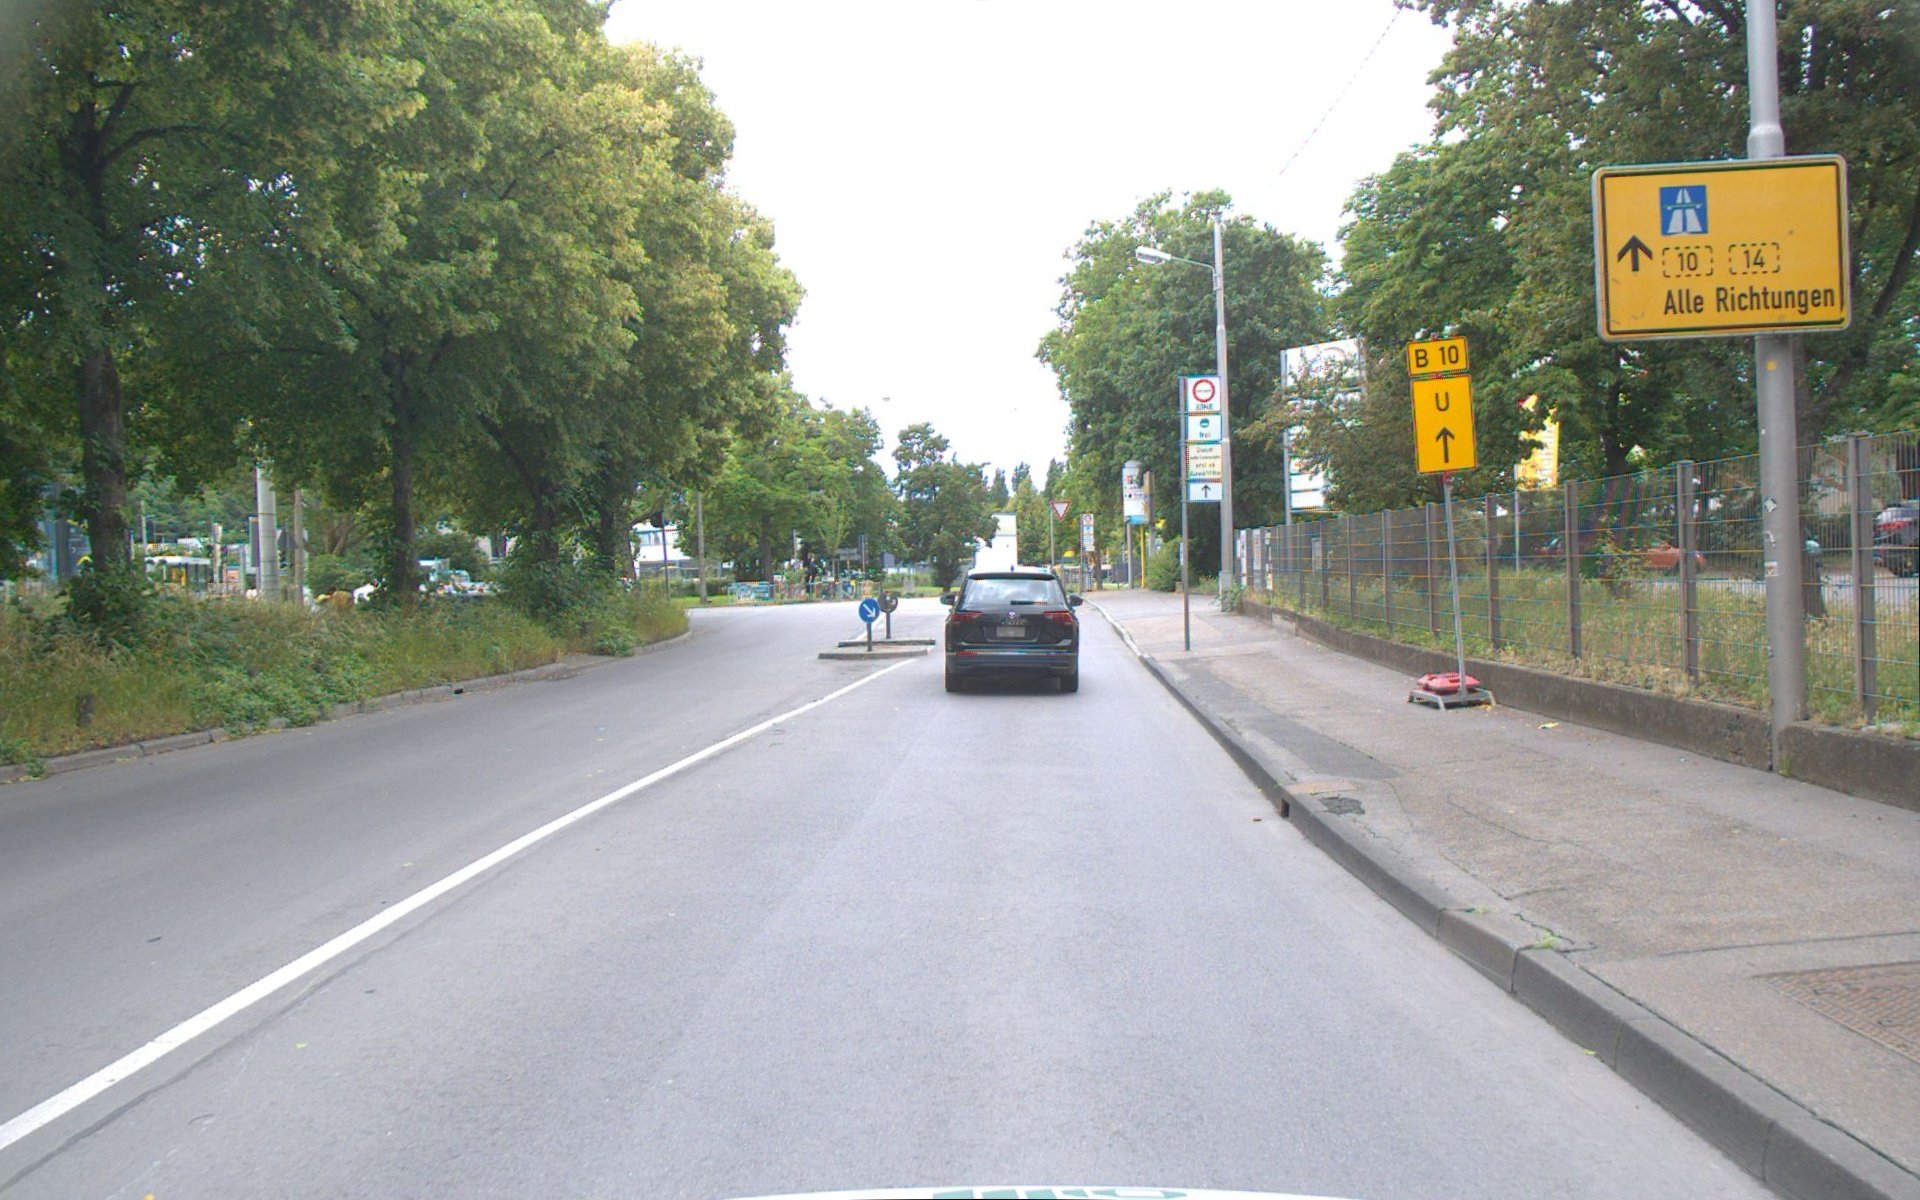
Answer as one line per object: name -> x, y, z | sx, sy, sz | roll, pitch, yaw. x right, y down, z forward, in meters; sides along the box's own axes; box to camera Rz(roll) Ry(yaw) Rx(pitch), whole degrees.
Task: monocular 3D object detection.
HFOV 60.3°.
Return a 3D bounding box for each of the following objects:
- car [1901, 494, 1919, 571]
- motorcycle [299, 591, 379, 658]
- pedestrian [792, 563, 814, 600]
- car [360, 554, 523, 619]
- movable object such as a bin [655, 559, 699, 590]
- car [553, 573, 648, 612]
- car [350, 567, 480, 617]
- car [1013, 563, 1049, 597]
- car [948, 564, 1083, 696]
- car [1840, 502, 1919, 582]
car -> 21.361, -1.438, 33.439 | 3.622, 1.561, 1.832 | -2, 1, 7
motorcycle -> -11.940, 0.454, 31.870 | 0.553, 1.188, 2.037 | -2, 1, 5
pedestrian -> -7.691, -0.889, 81.155 | 0.731, 1.772, 0.723 | -1, 2, 43
car -> -21.405, -0.573, 68.508 | 5.951, 2.429, 2.393 | -2, 1, -4
movable object such as a bin -> -19.756, -1.763, 115.520 | 1.953, 2.048, 2.399 | -2, 1, 23
car -> -15.029, -0.320, 69.129 | 3.561, 1.434, 1.727 | -3, 1, -26
car -> -23.697, -0.362, 72.034 | 4.872, 1.975, 2.050 | -2, 1, 7
car -> 3.624, -1.035, 84.180 | 1.624, 1.601, 3.831 | -3, 1, 5
car -> 0.709, 0.345, 22.790 | 1.703, 1.646, 3.642 | 0, 1, 0
car -> 21.741, -1.327, 36.511 | 3.622, 1.703, 1.860 | -2, 1, 7
